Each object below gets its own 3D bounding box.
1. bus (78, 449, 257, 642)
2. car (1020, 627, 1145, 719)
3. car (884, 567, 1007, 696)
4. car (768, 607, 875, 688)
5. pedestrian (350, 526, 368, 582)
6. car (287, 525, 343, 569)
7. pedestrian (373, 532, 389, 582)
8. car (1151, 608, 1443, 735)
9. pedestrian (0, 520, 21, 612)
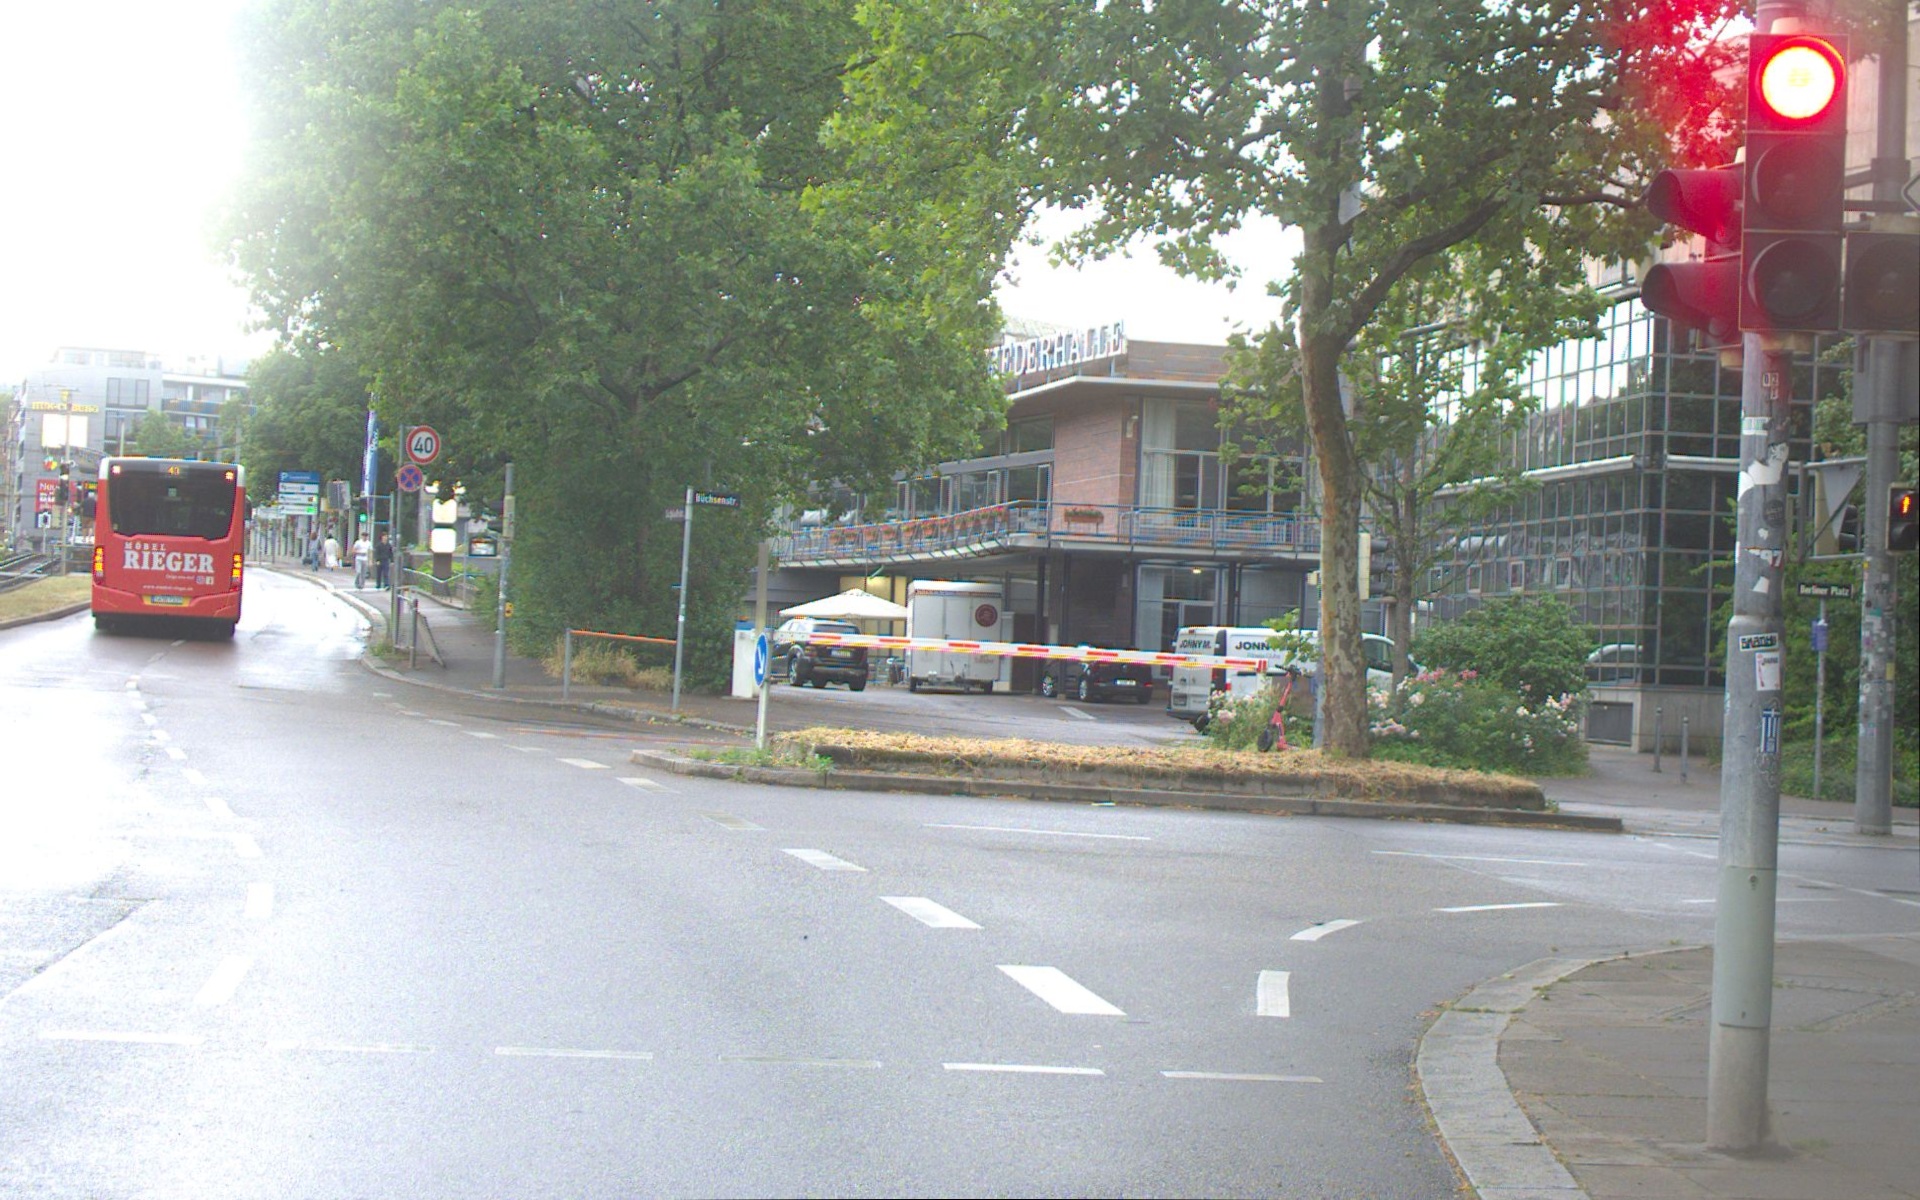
[{"bbox_3d":[-14.610,-0.960,62.910,2.654,3.100,9.188,4,-1,-15],"label":"bus"},{"bbox_3d":[2.975,1.768,84.446,1.993,2.007,4.001,4,-1,-13],"label":"car"},{"bbox_3d":[-0.415,0.816,90.549,2.544,3.123,5.032,4,-1,-6],"label":"car"},{"bbox_3d":[-3.566,1.193,87.928,1.993,1.853,4.001,4,-1,-12],"label":"car"},{"bbox_3d":[-18.600,-1.417,106.334,0.371,1.702,0.644,3,0,-1],"label":"pedestrian"},{"bbox_3d":[-27.749,-2.266,147.831,1.993,1.678,4.001,4,-1,-14],"label":"car"},{"bbox_3d":[-18.015,-1.344,106.960,0.371,1.520,0.344,3,0,-1],"label":"pedestrian"},{"bbox_3d":[6.084,1.286,62.044,4.745,1.937,2.001,4,-1,-22],"label":"car"},{"bbox_3d":[-17.435,-0.631,62.179,0.737,1.634,0.871,4,-1,-13],"label":"pedestrian"}]
